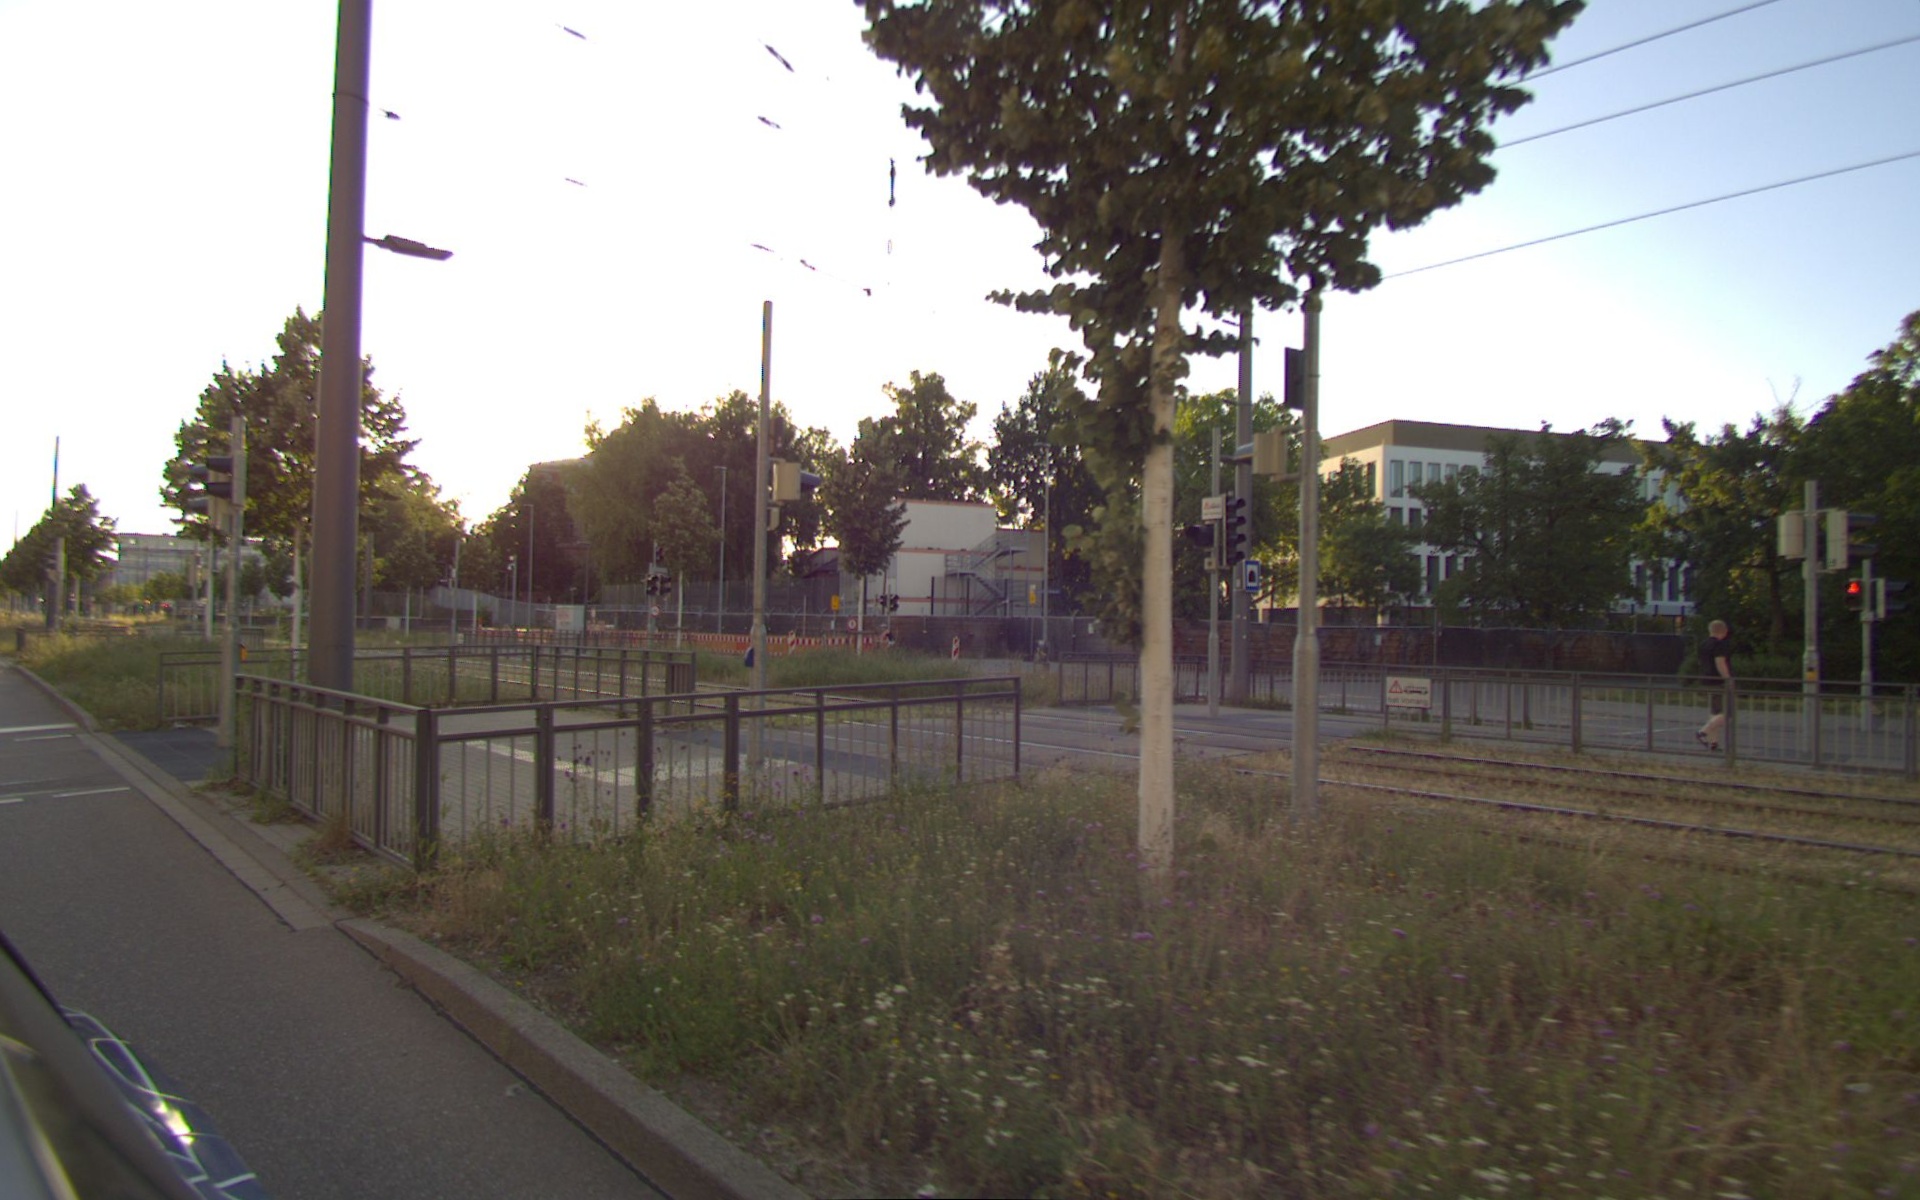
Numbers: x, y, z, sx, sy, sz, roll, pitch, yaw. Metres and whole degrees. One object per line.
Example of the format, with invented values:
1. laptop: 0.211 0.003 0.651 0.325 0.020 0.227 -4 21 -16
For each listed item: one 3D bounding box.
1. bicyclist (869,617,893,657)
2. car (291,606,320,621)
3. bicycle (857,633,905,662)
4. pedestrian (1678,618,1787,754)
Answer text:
1. bicyclist: -3.266 1.524 41.764 0.929 1.633 0.718 -1 0 -10
2. car: -68.193 1.423 105.492 1.823 1.572 3.803 0 0 -44
3. bicycle: -3.261 1.951 41.760 1.867 1.142 0.718 -1 0 -10
4. pedestrian: 9.688 1.069 12.712 0.660 1.620 0.679 -2 -4 -12
